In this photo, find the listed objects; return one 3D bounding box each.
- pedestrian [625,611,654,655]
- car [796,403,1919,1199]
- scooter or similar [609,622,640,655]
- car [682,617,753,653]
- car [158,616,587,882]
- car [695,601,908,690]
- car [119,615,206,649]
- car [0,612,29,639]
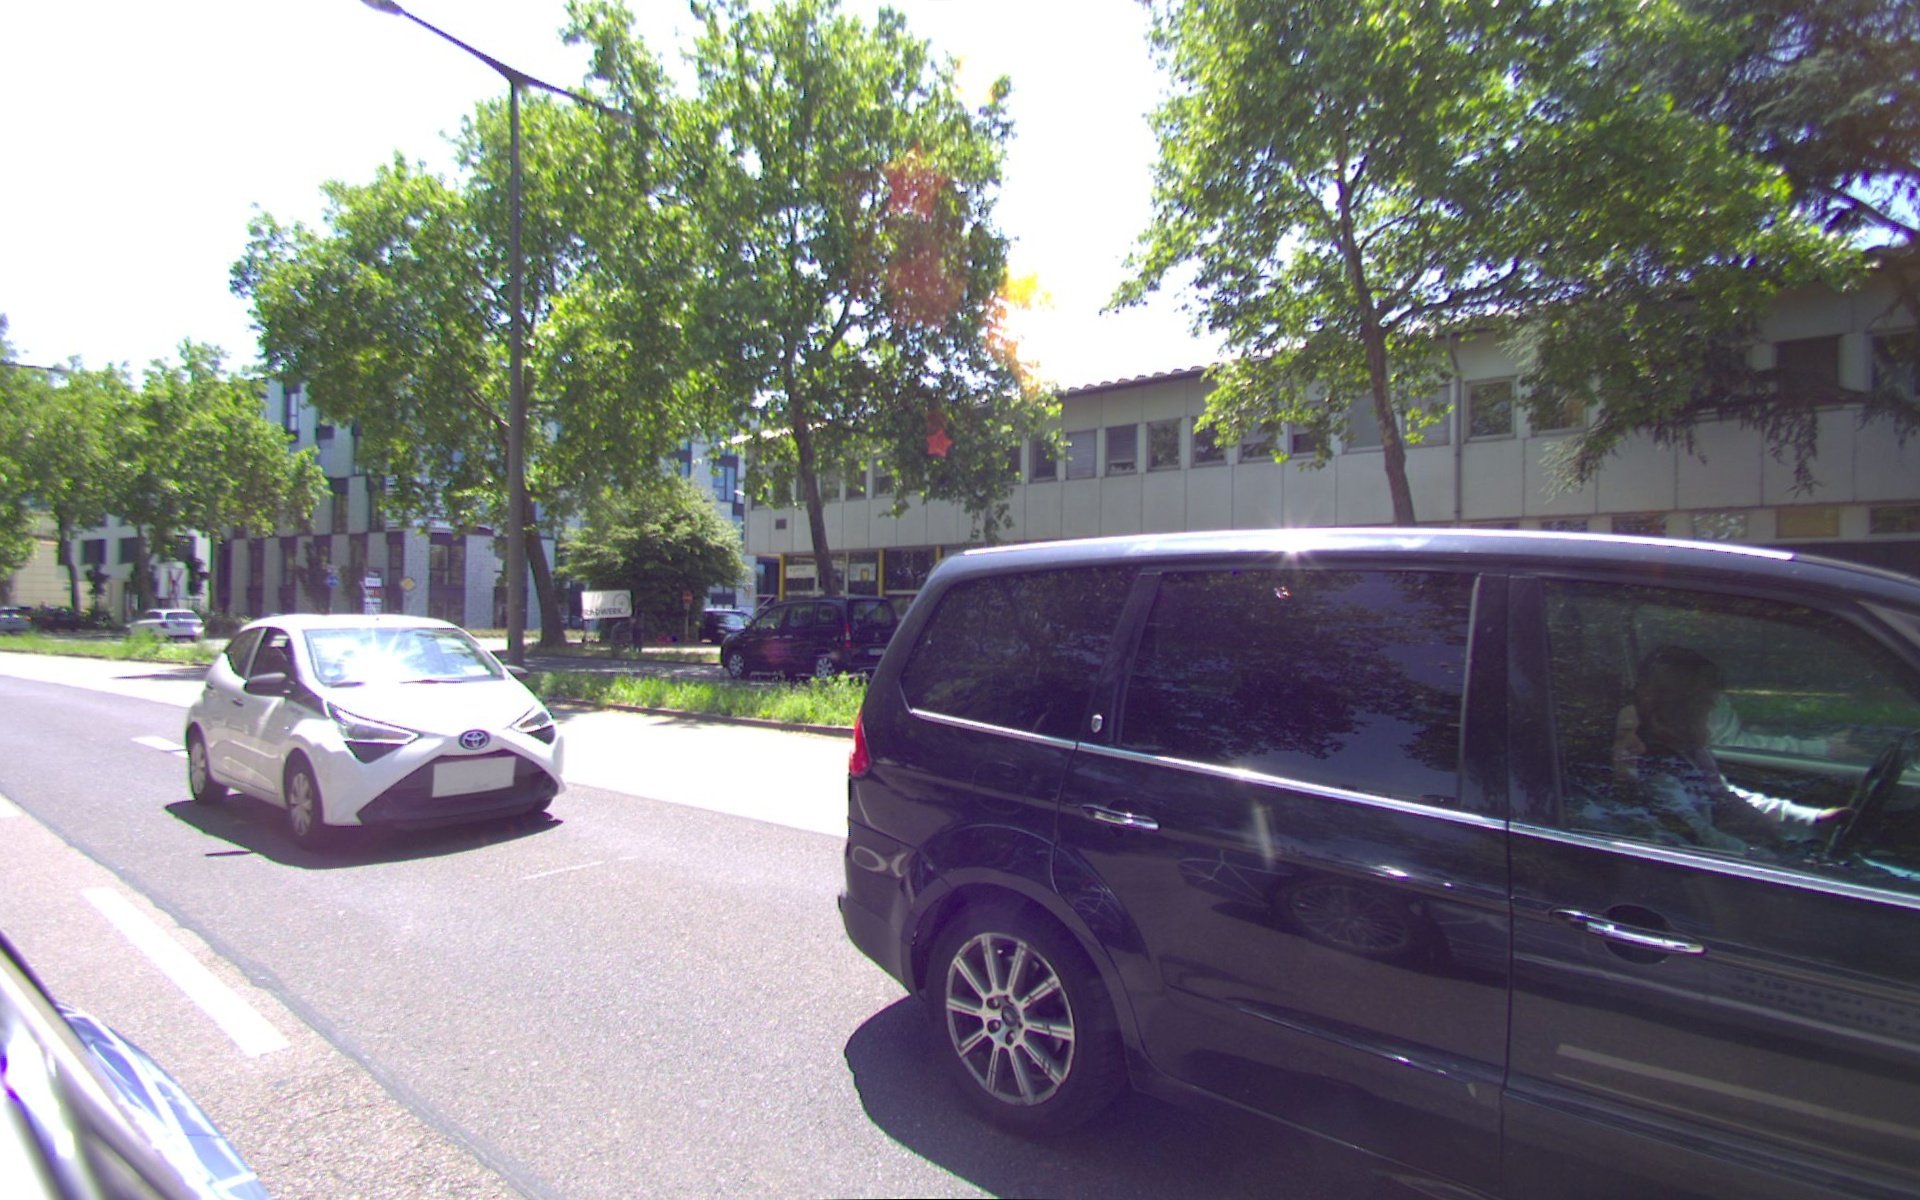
[{"bbox_3d":[-11.591,1.175,36.572,0.789,1.572,0.636,-1,-2,33],"label":"pedestrian"},{"bbox_3d":[1.809,0.583,2.558,4.645,1.769,1.835,-1,-1,40],"label":"car"},{"bbox_3d":[-12.274,1.397,37.025,0.857,1.172,0.673,-1,-2,33],"label":"scooter or similar"},{"bbox_3d":[-12.217,1.728,50.849,3.527,1.659,1.796,0,0,42],"label":"car"},{"bbox_3d":[-4.473,0.867,7.499,3.648,1.456,1.602,-1,0,40],"label":"car"},{"bbox_3d":[-3.403,0.910,21.419,4.434,1.692,1.894,-1,-1,36],"label":"car"},{"bbox_3d":[-35.514,1.417,45.048,4.538,1.429,1.837,-1,-2,36],"label":"car"},{"bbox_3d":[-53.762,1.394,56.491,3.662,1.470,1.718,0,-2,32],"label":"car"}]
